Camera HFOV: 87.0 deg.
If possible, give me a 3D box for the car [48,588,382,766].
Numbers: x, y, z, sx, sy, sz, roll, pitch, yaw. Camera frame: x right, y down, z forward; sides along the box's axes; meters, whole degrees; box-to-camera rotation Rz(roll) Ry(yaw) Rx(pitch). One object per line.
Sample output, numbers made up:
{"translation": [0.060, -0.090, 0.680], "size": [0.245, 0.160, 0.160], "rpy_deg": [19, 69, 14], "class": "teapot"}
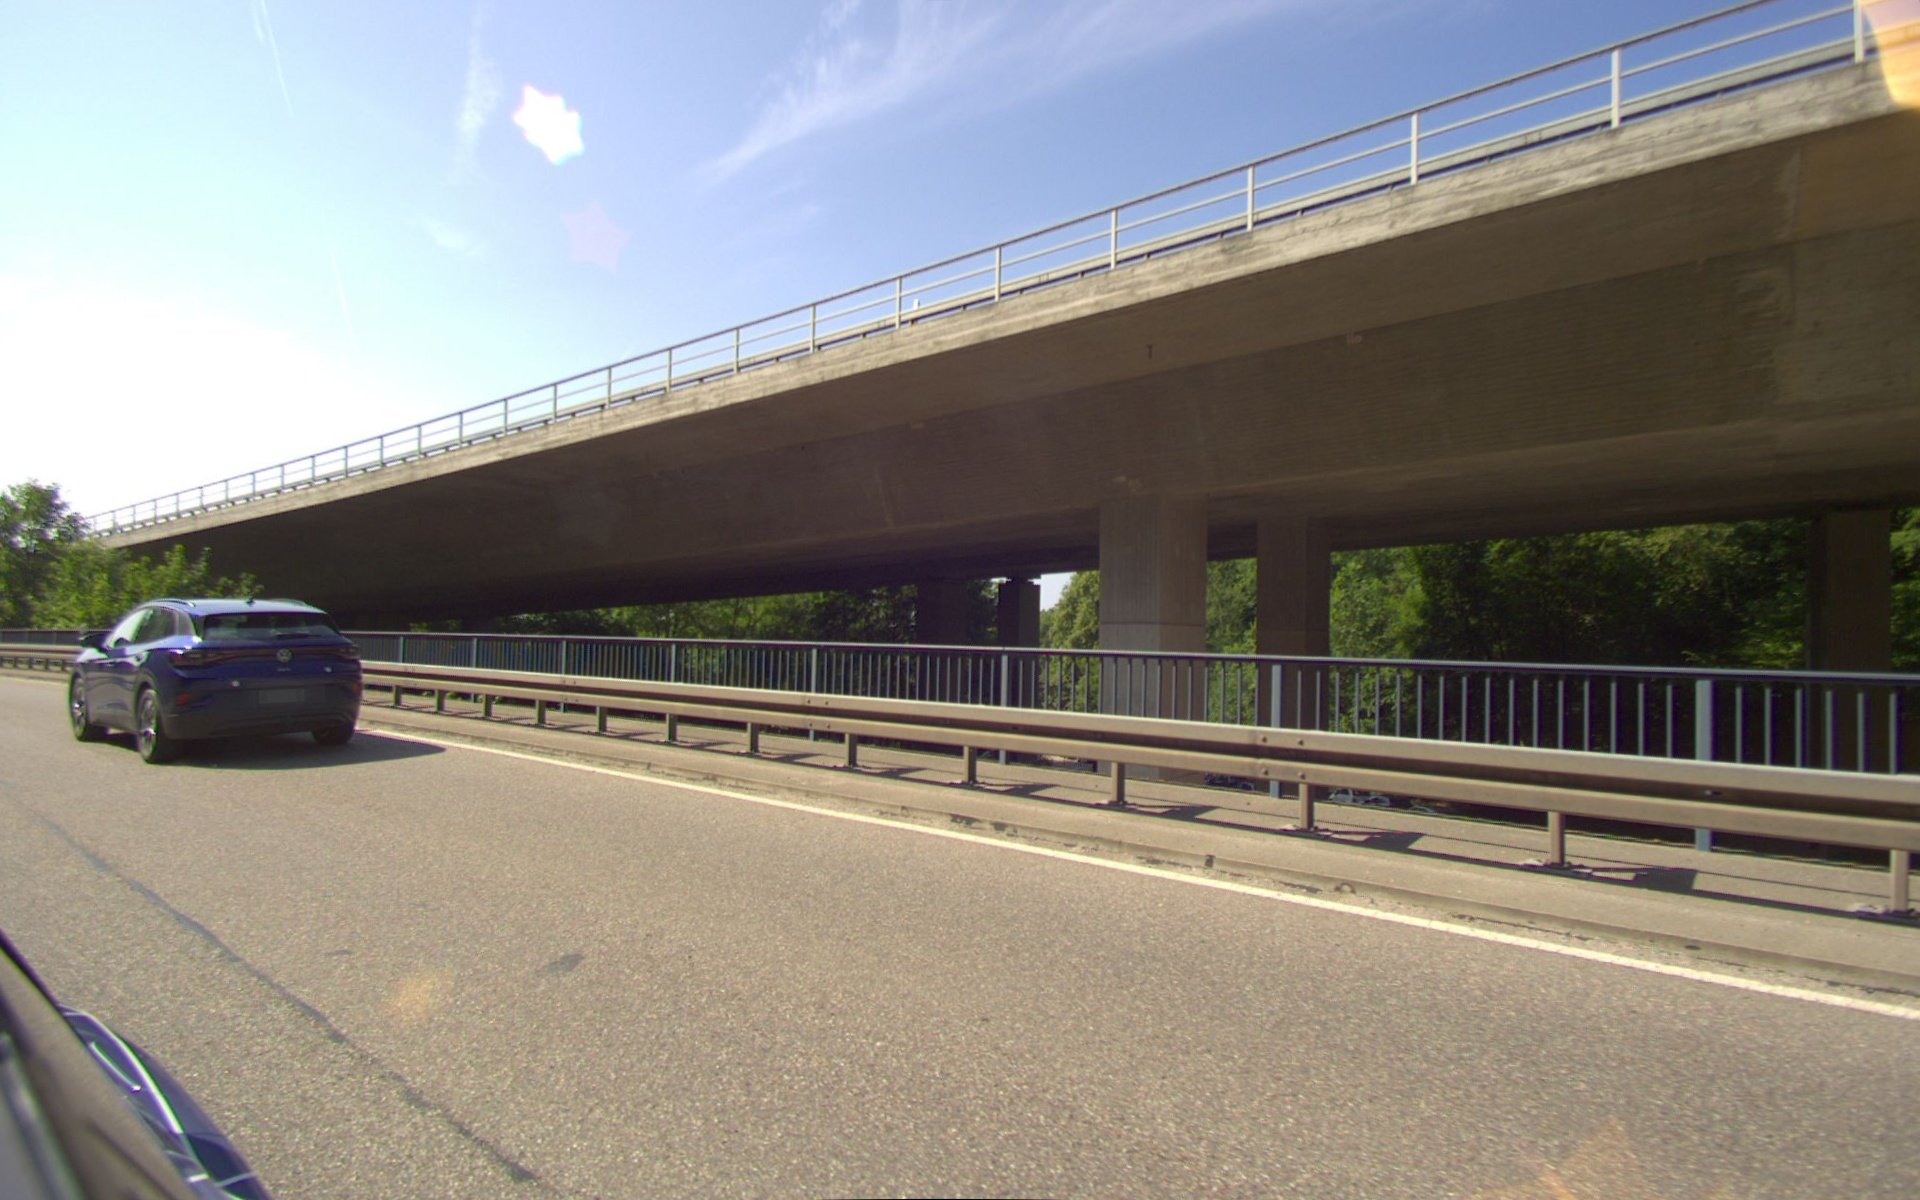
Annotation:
{"translation": [-8.400, 0.707, 11.256], "size": [4.549, 1.593, 1.880], "rpy_deg": [-1, 0, 38], "class": "car"}
